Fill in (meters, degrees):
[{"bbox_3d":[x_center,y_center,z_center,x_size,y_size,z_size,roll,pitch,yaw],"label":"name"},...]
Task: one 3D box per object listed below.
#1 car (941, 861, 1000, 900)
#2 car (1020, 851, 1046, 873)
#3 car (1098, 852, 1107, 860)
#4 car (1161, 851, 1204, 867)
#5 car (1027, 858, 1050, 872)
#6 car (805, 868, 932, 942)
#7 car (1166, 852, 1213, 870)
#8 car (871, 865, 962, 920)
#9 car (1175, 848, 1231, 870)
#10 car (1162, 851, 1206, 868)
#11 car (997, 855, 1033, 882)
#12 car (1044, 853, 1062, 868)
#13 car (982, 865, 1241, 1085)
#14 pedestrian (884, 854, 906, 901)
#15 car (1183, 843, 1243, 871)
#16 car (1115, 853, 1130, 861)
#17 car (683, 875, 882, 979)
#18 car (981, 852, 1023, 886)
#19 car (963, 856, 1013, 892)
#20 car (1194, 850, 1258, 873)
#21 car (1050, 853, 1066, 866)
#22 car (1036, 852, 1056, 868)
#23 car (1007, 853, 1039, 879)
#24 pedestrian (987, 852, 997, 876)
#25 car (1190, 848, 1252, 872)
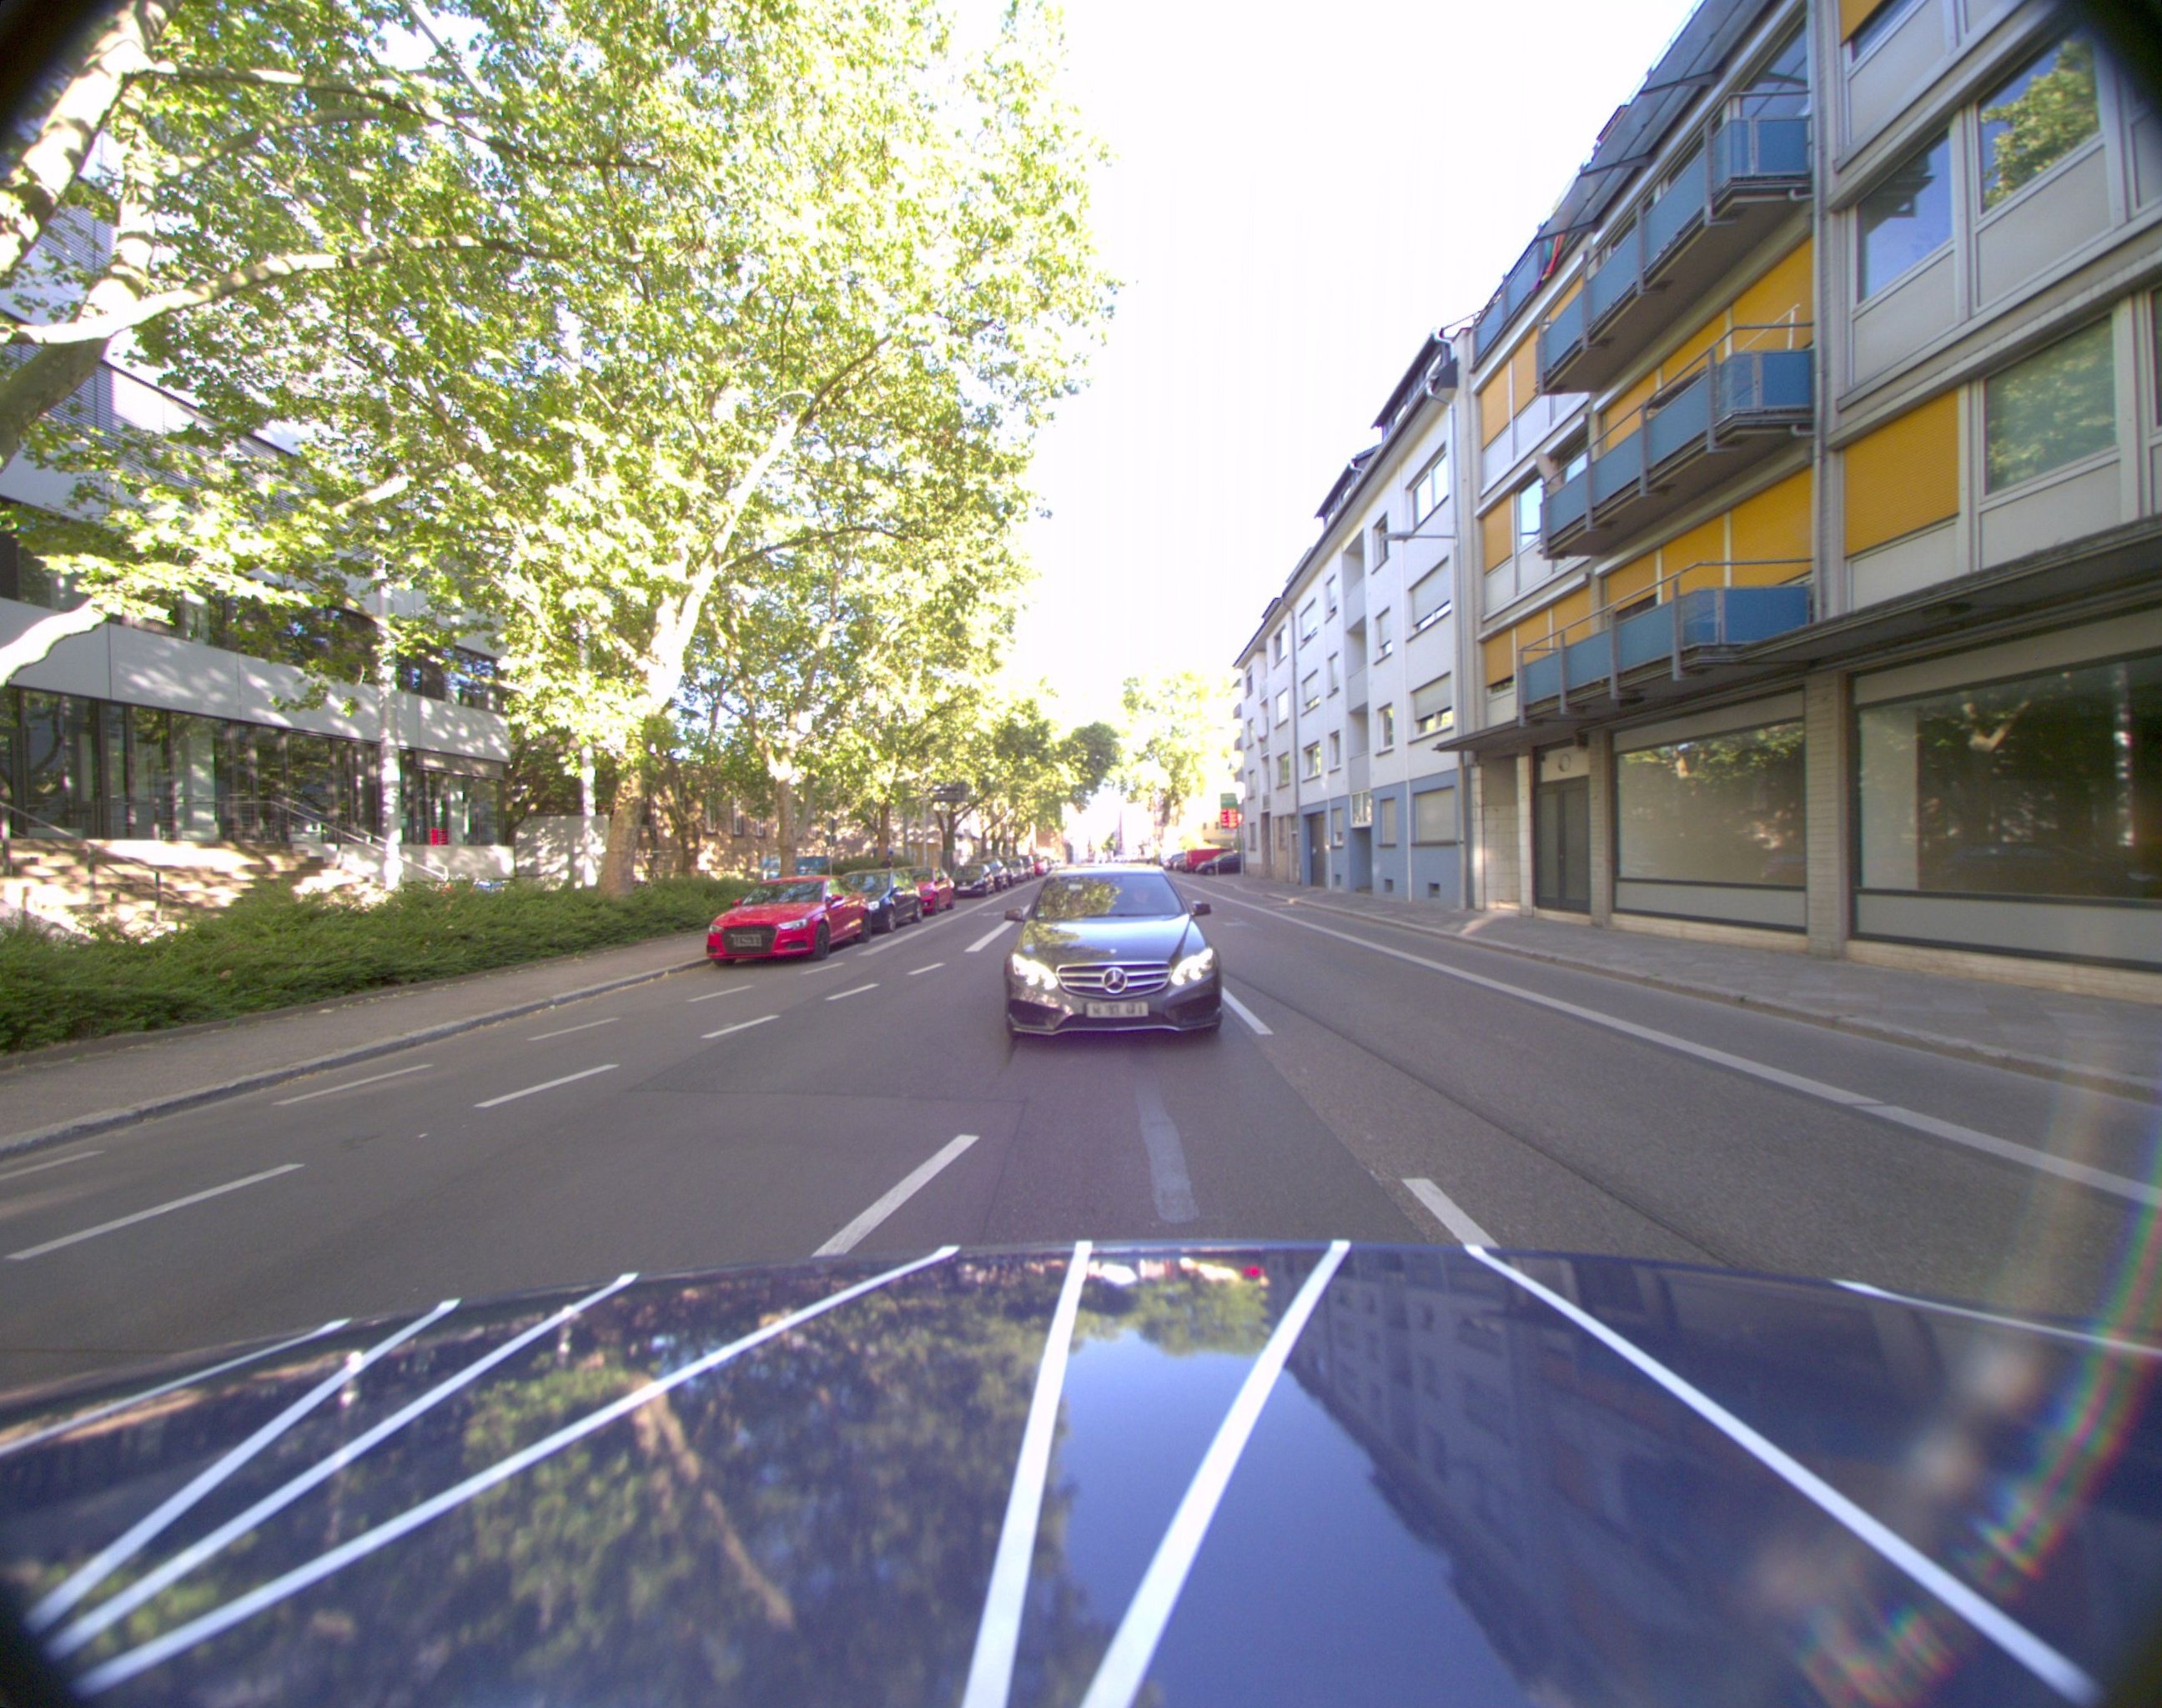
[{"bbox_3d":[-4.748,1.103,33.178,1.835,1.459,4.168,-2,0,1],"label":"car"},{"bbox_3d":[-4.149,0.679,66.348,1.835,1.839,4.259,-2,0,1],"label":"car"},{"bbox_3d":[4.267,0.478,153.783,1.726,1.530,4.000,-1,0,1],"label":"car"},{"bbox_3d":[10.770,0.513,80.616,4.255,1.461,1.653,-4,0,1],"label":"car"},{"bbox_3d":[-3.994,1.023,71.788,1.835,1.220,4.259,-2,0,1],"label":"car"},{"bbox_3d":[-5.042,1.150,18.631,1.835,1.438,4.168,-2,0,1],"label":"car"},{"bbox_3d":[10.428,0.672,73.193,4.255,1.461,1.653,-4,0,1],"label":"car"},{"bbox_3d":[-5.045,1.133,23.841,1.835,1.459,4.168,-2,0,1],"label":"car"},{"bbox_3d":[10.048,0.407,62.713,4.255,1.461,1.653,-4,0,1],"label":"car"},{"bbox_3d":[10.599,0.539,78.652,4.255,1.461,1.653,-4,0,1],"label":"car"},{"bbox_3d":[-4.341,0.945,50.608,1.835,1.604,4.259,-2,0,1],"label":"car"},{"bbox_3d":[-3.416,0.782,92.843,1.835,1.667,4.259,-2,0,1],"label":"car"},{"bbox_3d":[0.251,0.912,7.679,1.849,1.490,4.302,-1,0,1],"label":"car"},{"bbox_3d":[-7.534,0.932,30.744,0.660,1.849,0.641,-2,1,1],"label":"pedestrian"},{"bbox_3d":[10.412,0.222,60.131,4.255,1.907,1.818,-4,0,0],"label":"car"},{"bbox_3d":[9.218,0.656,169.272,1.995,1.825,4.143,-1,0,22],"label":"car"},{"bbox_3d":[-5.132,1.177,13.770,1.835,1.396,4.247,-2,0,1],"label":"car"},{"bbox_3d":[-4.513,0.820,44.115,1.835,1.787,4.463,-2,0,1],"label":"car"},{"bbox_3d":[-4.599,0.963,38.075,1.835,1.596,4.161,-2,0,1],"label":"car"},{"bbox_3d":[10.396,0.518,54.749,4.255,1.392,1.653,-4,0,1],"label":"car"},{"bbox_3d":[-3.052,0.681,102.950,1.835,1.667,4.259,-2,0,1],"label":"car"},{"bbox_3d":[-3.943,0.664,86.227,1.835,1.667,4.259,-2,0,1],"label":"car"},{"bbox_3d":[-4.183,0.810,55.640,1.835,1.750,4.259,-2,0,1],"label":"car"},{"bbox_3d":[-6.634,0.755,56.670,0.601,1.785,0.593,-2,1,0],"label":"pedestrian"},{"bbox_3d":[10.480,0.455,57.051,4.255,1.461,1.653,-4,0,1],"label":"car"}]
